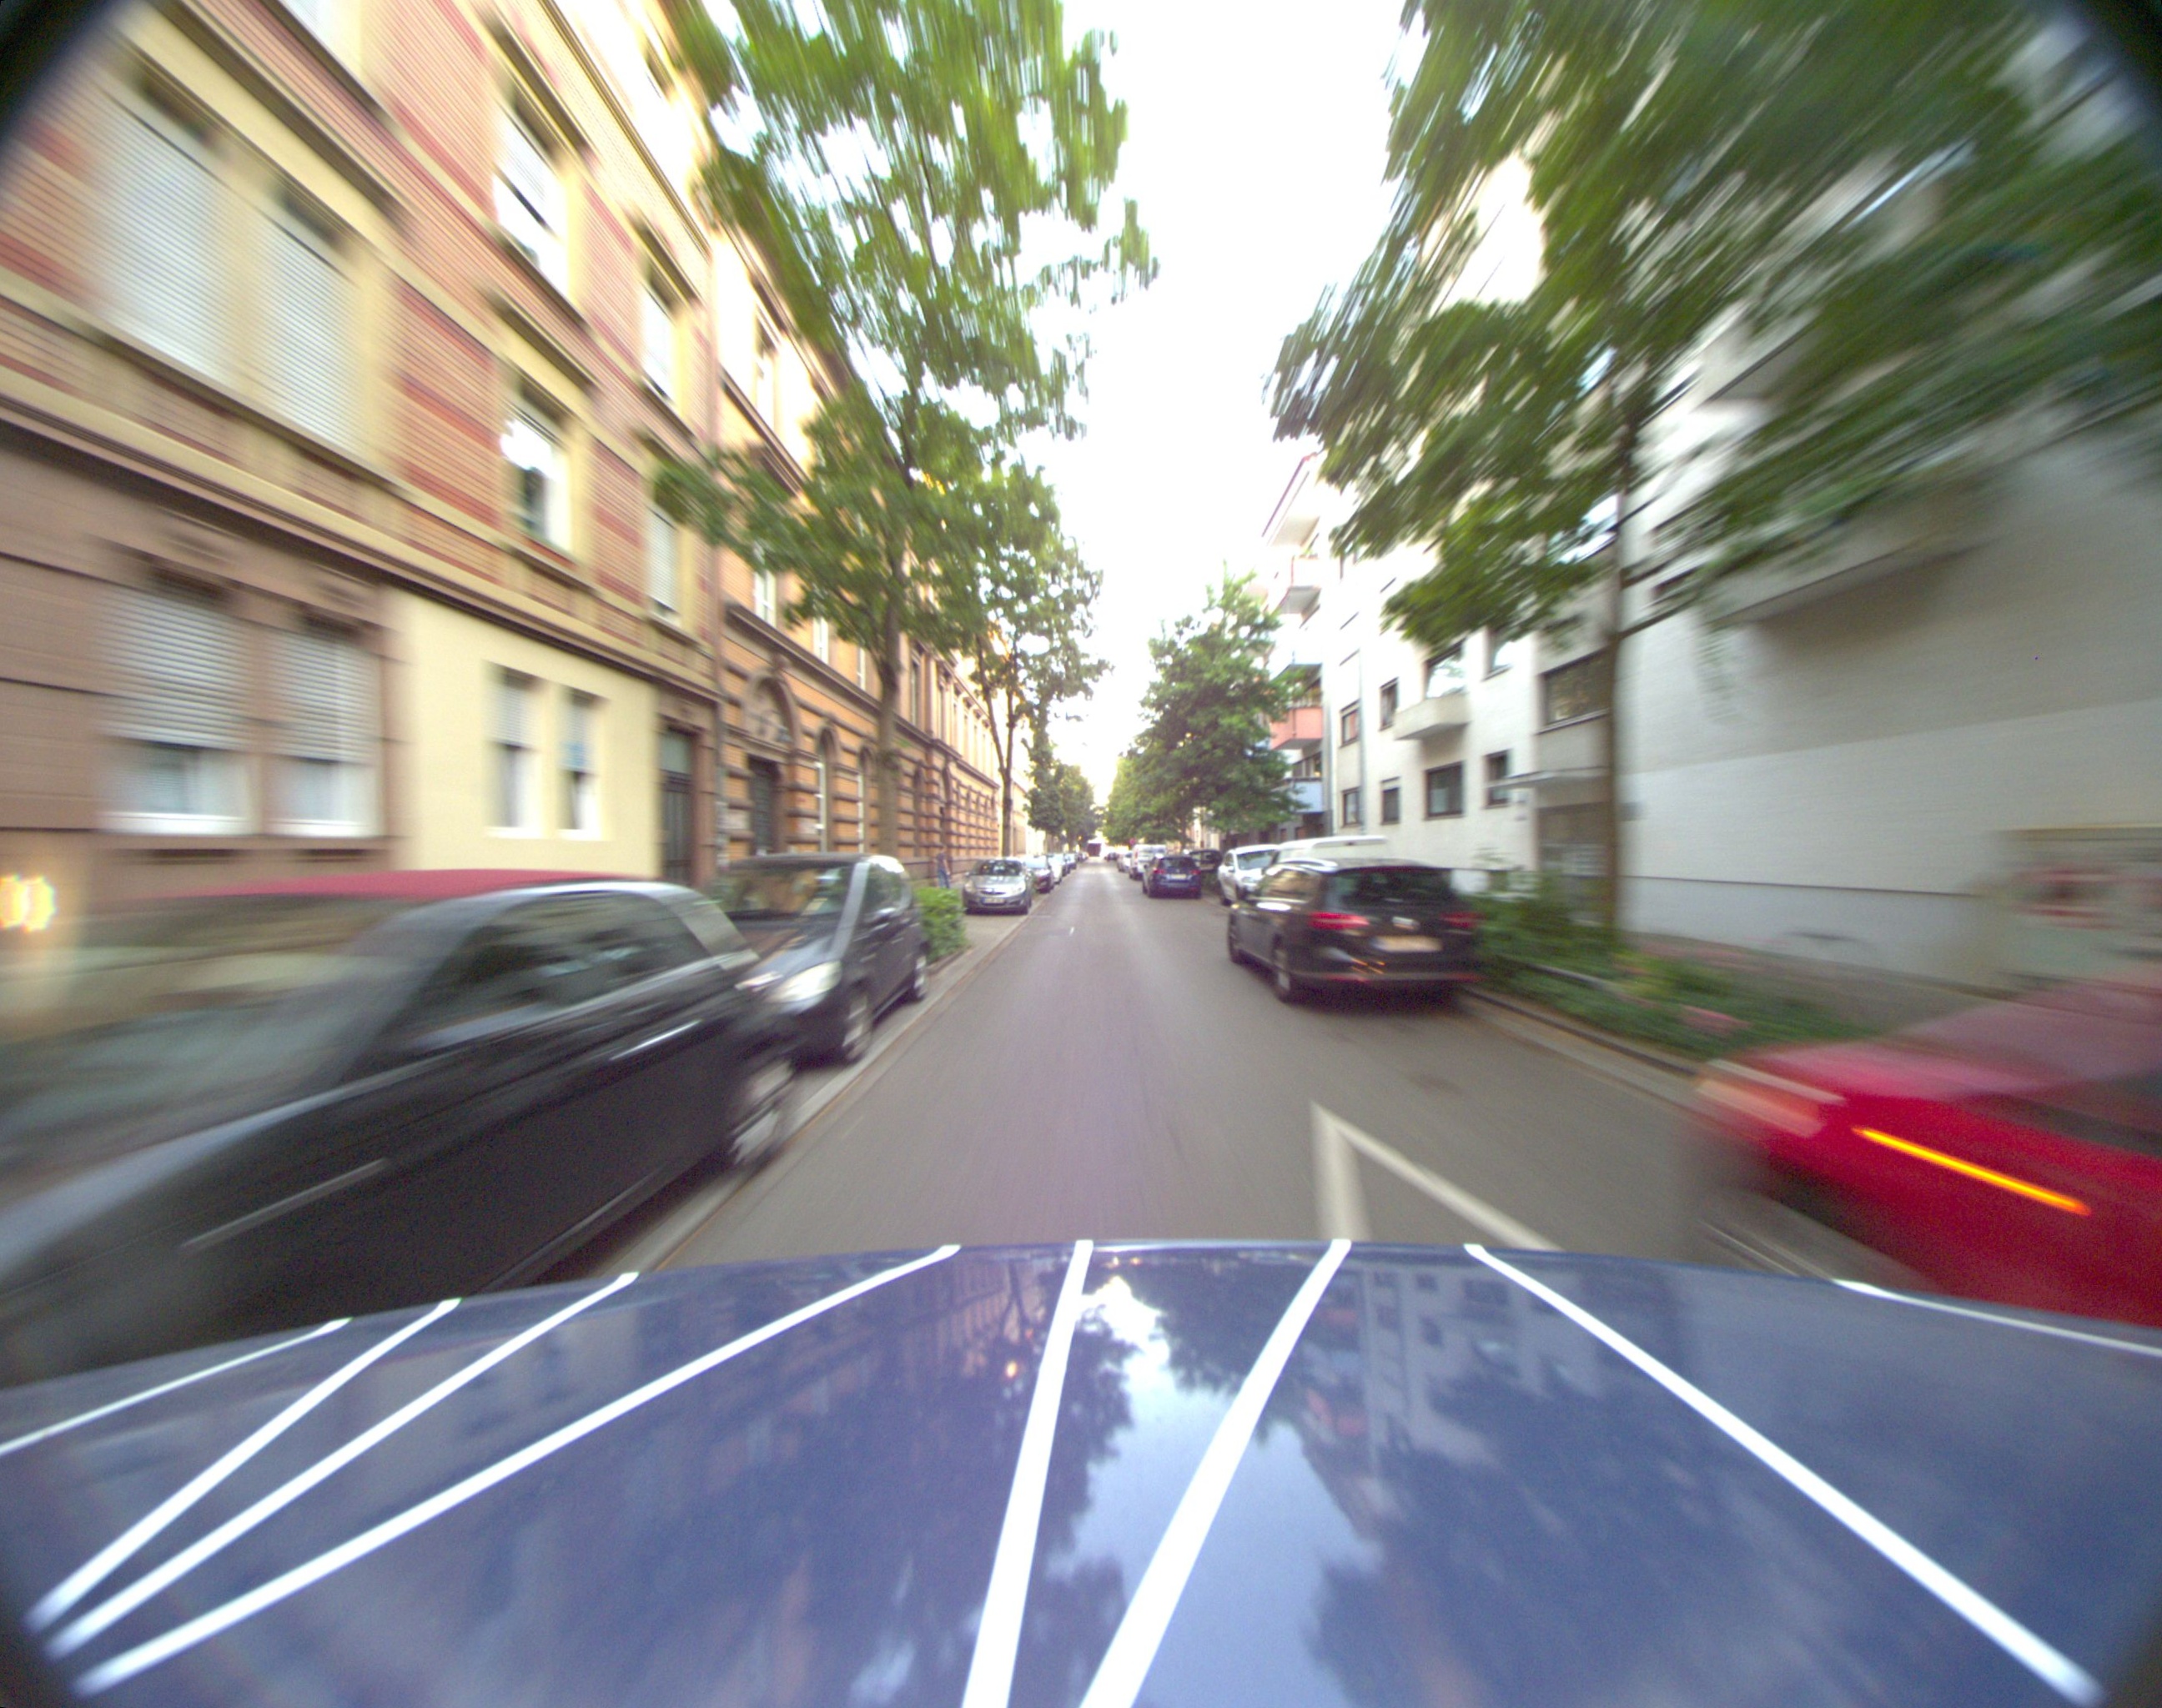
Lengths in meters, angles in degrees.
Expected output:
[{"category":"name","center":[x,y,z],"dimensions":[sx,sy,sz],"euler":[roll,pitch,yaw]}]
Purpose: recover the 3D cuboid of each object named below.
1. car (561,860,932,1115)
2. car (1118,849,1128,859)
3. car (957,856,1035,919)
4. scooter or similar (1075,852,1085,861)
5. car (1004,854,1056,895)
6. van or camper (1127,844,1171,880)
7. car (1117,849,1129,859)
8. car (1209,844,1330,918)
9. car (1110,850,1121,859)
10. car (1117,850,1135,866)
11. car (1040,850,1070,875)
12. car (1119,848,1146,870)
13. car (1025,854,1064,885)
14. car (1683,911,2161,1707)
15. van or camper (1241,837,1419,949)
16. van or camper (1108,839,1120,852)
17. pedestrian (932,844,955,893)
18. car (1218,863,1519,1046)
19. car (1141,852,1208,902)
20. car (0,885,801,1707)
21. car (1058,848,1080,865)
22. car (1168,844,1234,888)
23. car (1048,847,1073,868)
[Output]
[{"category":"car","center":[-2.469,0.858,6.668],"dimensions":[1.616,1.550,3.765],"euler":[0,1,-1]},{"category":"car","center":[6.684,-0.008,120.964],"dimensions":[1.523,1.493,3.561],"euler":[-2,1,1]},{"category":"car","center":[-2.209,0.843,20.675],"dimensions":[1.702,1.474,3.999],"euler":[1,0,-1]},{"category":"scooter or similar","center":[-0.140,0.297,103.244],"dimensions":[0.673,1.183,1.118],"euler":[3,2,41]},{"category":"car","center":[-1.956,0.774,30.390],"dimensions":[1.726,1.441,4.214],"euler":[0,1,1]},{"category":"van or camper","center":[3.645,0.388,41.431],"dimensions":[1.881,1.832,4.752],"euler":[0,0,-1]},{"category":"car","center":[6.901,-0.055,125.019],"dimensions":[1.695,1.493,3.711],"euler":[-2,1,0]},{"category":"car","center":[4.937,0.643,20.603],"dimensions":[2.039,1.662,4.648],"euler":[-4,0,0]},{"category":"car","center":[5.785,0.045,129.310],"dimensions":[1.728,1.564,4.219],"euler":[-1,0,1]},{"category":"car","center":[4.280,0.367,73.188],"dimensions":[1.584,1.412,3.753],"euler":[0,1,1]},{"category":"car","center":[-1.600,0.485,47.791],"dimensions":[1.716,1.469,4.192],"euler":[-1,0,0]},{"category":"car","center":[3.809,0.336,56.694],"dimensions":[1.668,1.554,3.999],"euler":[0,0,-2]},{"category":"car","center":[-1.756,0.723,37.911],"dimensions":[1.698,1.393,4.646],"euler":[0,0,1]},{"category":"car","center":[2.805,0.919,0.735],"dimensions":[1.634,1.422,3.542],"euler":[0,1,0]},{"category":"van or camper","center":[4.627,0.647,14.915],"dimensions":[1.936,1.749,4.465],"euler":[-4,0,0]},{"category":"van or camper","center":[6.424,-1.559,147.147],"dimensions":[2.225,2.417,5.660],"euler":[-1,0,1]},{"category":"pedestrian","center":[-4.767,0.496,26.345],"dimensions":[0.628,1.639,0.532],"euler":[-1,1,2]},{"category":"car","center":[2.881,0.901,8.785],"dimensions":[1.851,1.443,4.502],"euler":[-1,1,1]},{"category":"car","center":[3.183,0.736,26.736],"dimensions":[1.835,1.508,4.515],"euler":[-1,1,1]},{"category":"car","center":[-2.445,0.948,2.370],"dimensions":[1.554,1.488,3.611],"euler":[-1,1,4]},{"category":"car","center":[-1.100,0.188,68.998],"dimensions":[1.771,1.407,4.473],"euler":[1,0,2]},{"category":"car","center":[4.922,0.447,31.894],"dimensions":[1.998,1.637,4.922],"euler":[-3,1,1]},{"category":"car","center":[-1.427,0.224,53.979],"dimensions":[1.632,1.458,4.245],"euler":[0,0,-1]}]
